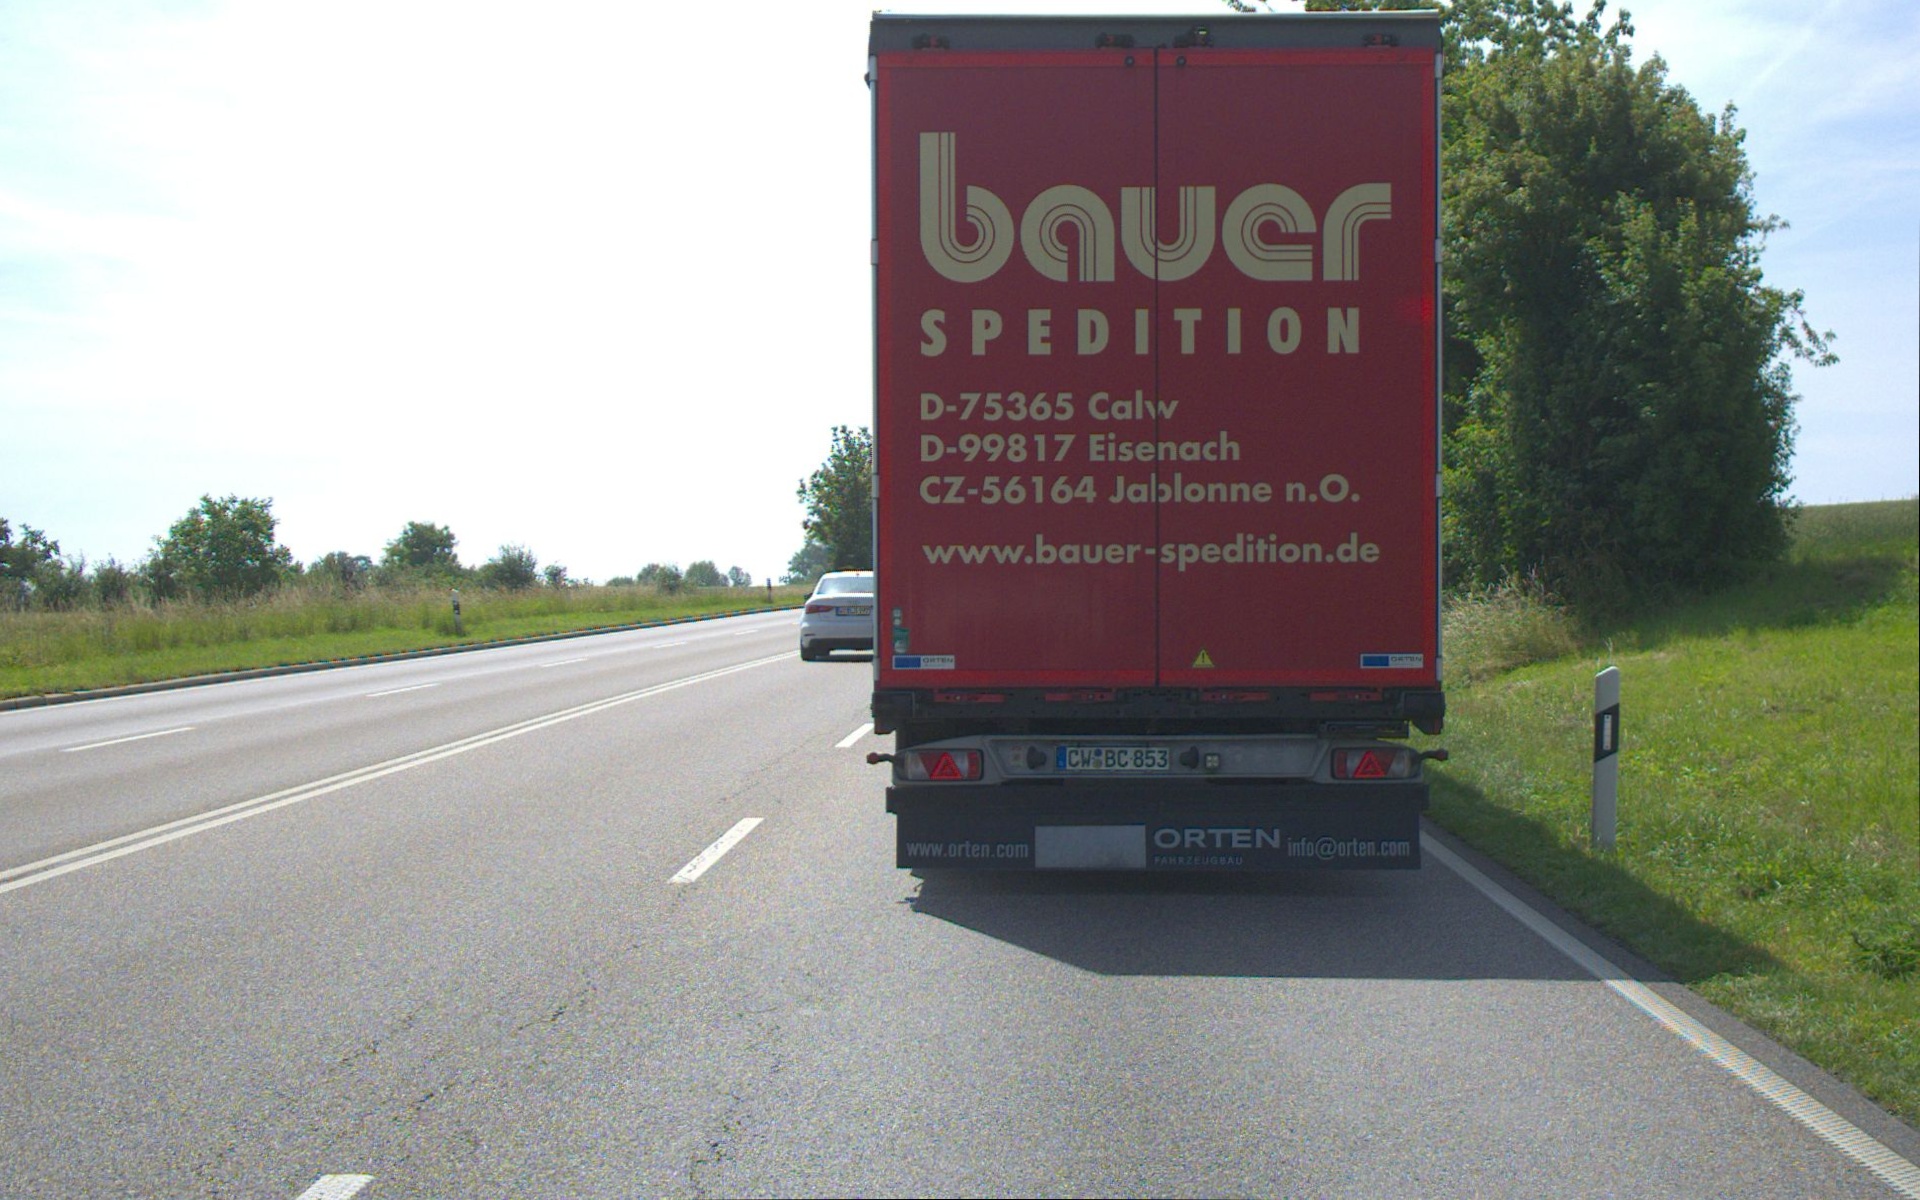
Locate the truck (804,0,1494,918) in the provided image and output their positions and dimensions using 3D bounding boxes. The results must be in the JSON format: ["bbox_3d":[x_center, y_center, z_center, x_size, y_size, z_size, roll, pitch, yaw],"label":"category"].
[{"bbox_3d":[0.722,-0.802,23.411,3.007,4.166,16.715,0,1,-1],"label":"truck"}]

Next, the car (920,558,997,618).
[{"bbox_3d":[-0.016,-0.332,88.508,1.821,1.467,4.788,1,1,2],"label":"car"}]

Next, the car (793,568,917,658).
[{"bbox_3d":[-1.648,0.180,55.294,1.703,1.371,4.603,1,1,2],"label":"car"}]
